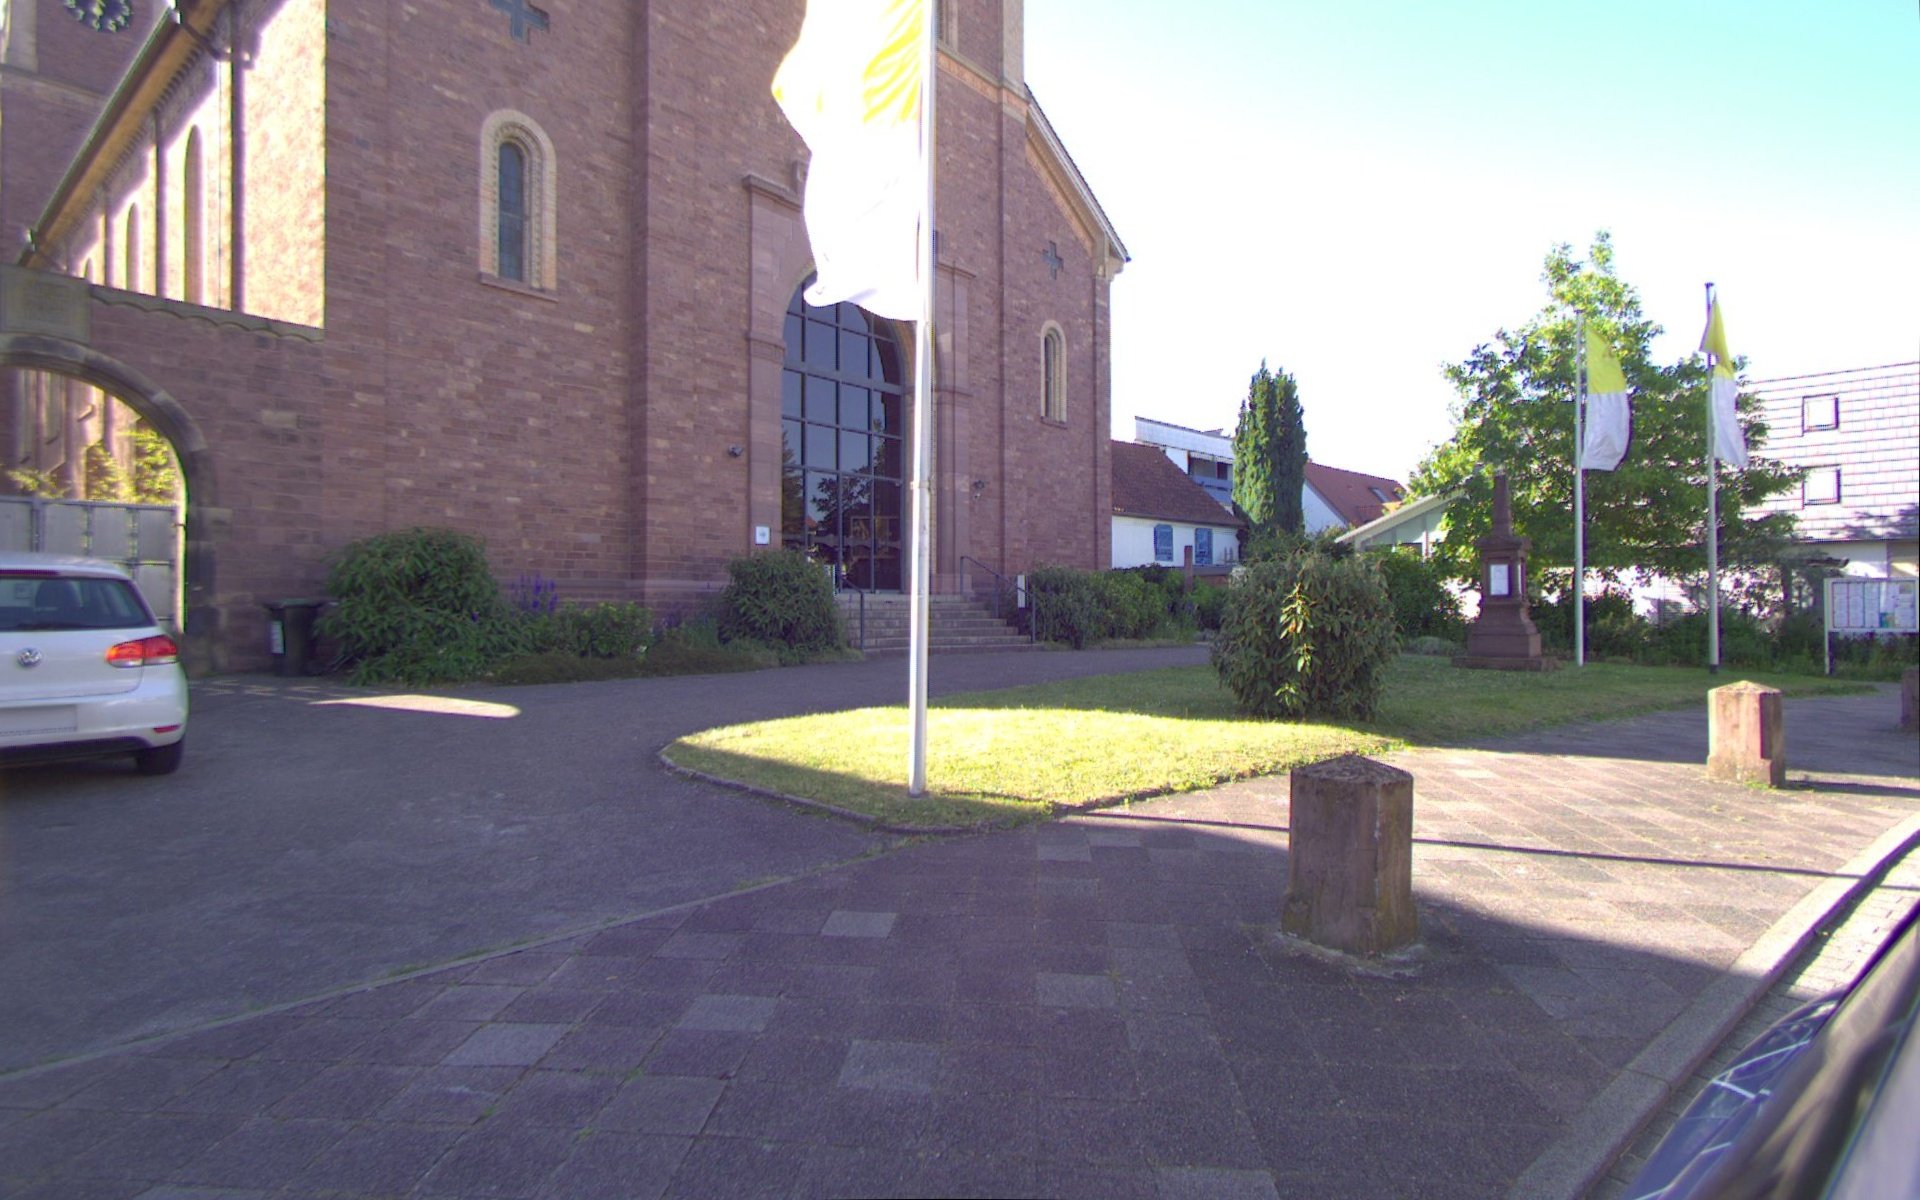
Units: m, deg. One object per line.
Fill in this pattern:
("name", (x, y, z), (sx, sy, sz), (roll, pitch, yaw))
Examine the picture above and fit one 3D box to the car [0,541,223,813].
("car", (-6.871, 0.361, 7.151), (3.895, 1.514, 1.877), (4, 4, 41))
